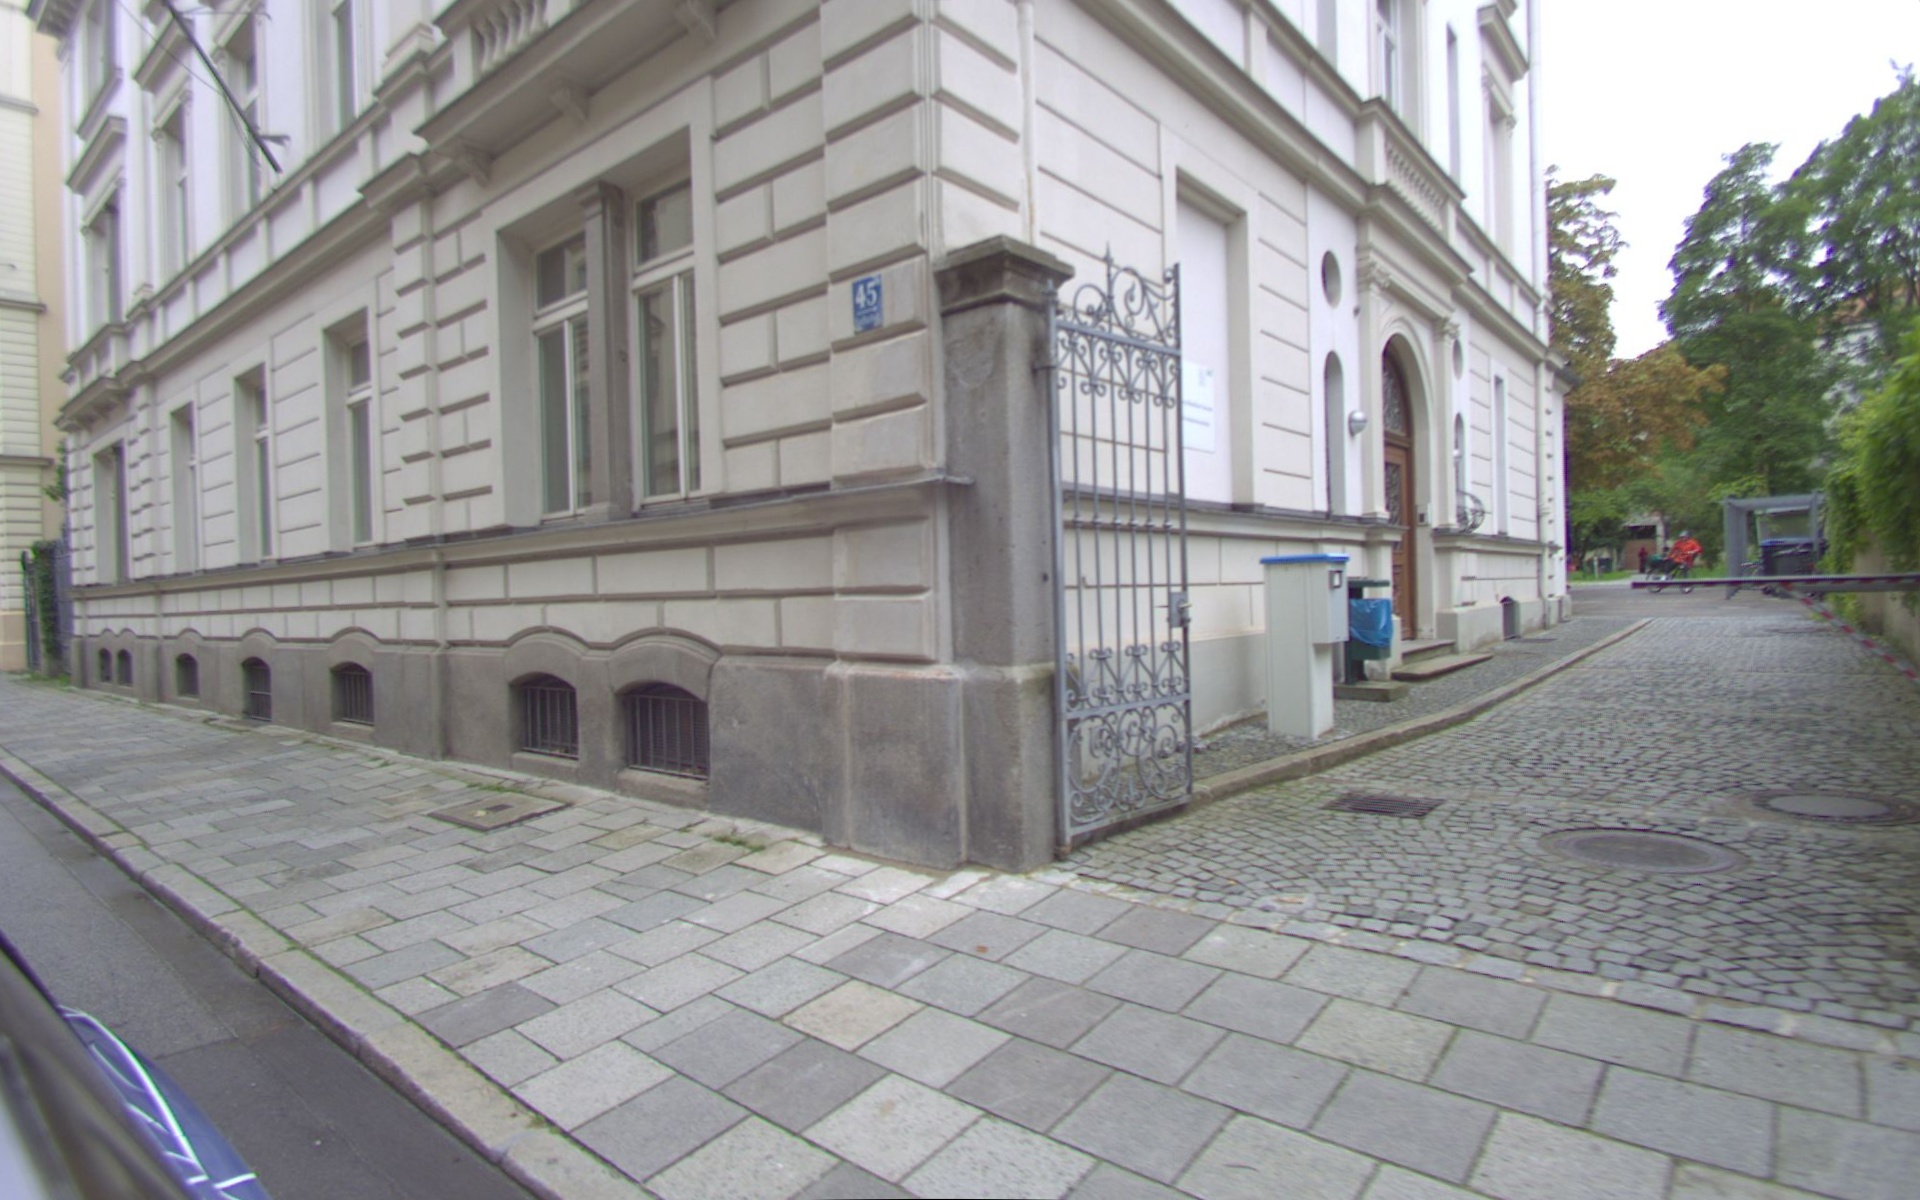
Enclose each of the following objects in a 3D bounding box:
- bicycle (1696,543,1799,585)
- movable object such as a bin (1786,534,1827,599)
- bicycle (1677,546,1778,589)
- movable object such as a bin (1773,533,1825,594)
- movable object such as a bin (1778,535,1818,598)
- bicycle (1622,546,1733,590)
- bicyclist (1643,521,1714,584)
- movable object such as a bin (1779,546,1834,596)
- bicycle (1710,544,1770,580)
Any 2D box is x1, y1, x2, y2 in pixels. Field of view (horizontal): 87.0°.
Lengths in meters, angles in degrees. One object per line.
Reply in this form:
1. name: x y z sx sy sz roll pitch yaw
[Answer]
1. bicycle: 21.708 -0.973 27.960 0.687 1.089 2.297 -2 1 -14
2. movable object such as a bin: 17.360 -0.684 20.759 0.624 1.305 0.563 -1 0 41
3. bicycle: 20.991 -0.867 27.758 0.632 1.089 2.297 -2 1 -14
4. movable object such as a bin: 19.061 -0.819 22.991 0.867 1.315 0.751 -1 0 41
5. movable object such as a bin: 17.723 -0.691 21.406 0.624 1.305 0.469 -1 0 41
6. bicycle: 19.589 -0.850 27.725 0.967 1.121 2.689 -2 1 -4
7. bicyclist: 19.584 -1.277 27.604 0.968 1.652 1.233 -2 1 -3
8. movable object such as a bin: 18.263 -0.621 21.838 0.867 1.023 0.751 -1 1 41
9. bicycle: 25.877 -1.255 33.590 1.535 1.136 0.533 -1 1 41
